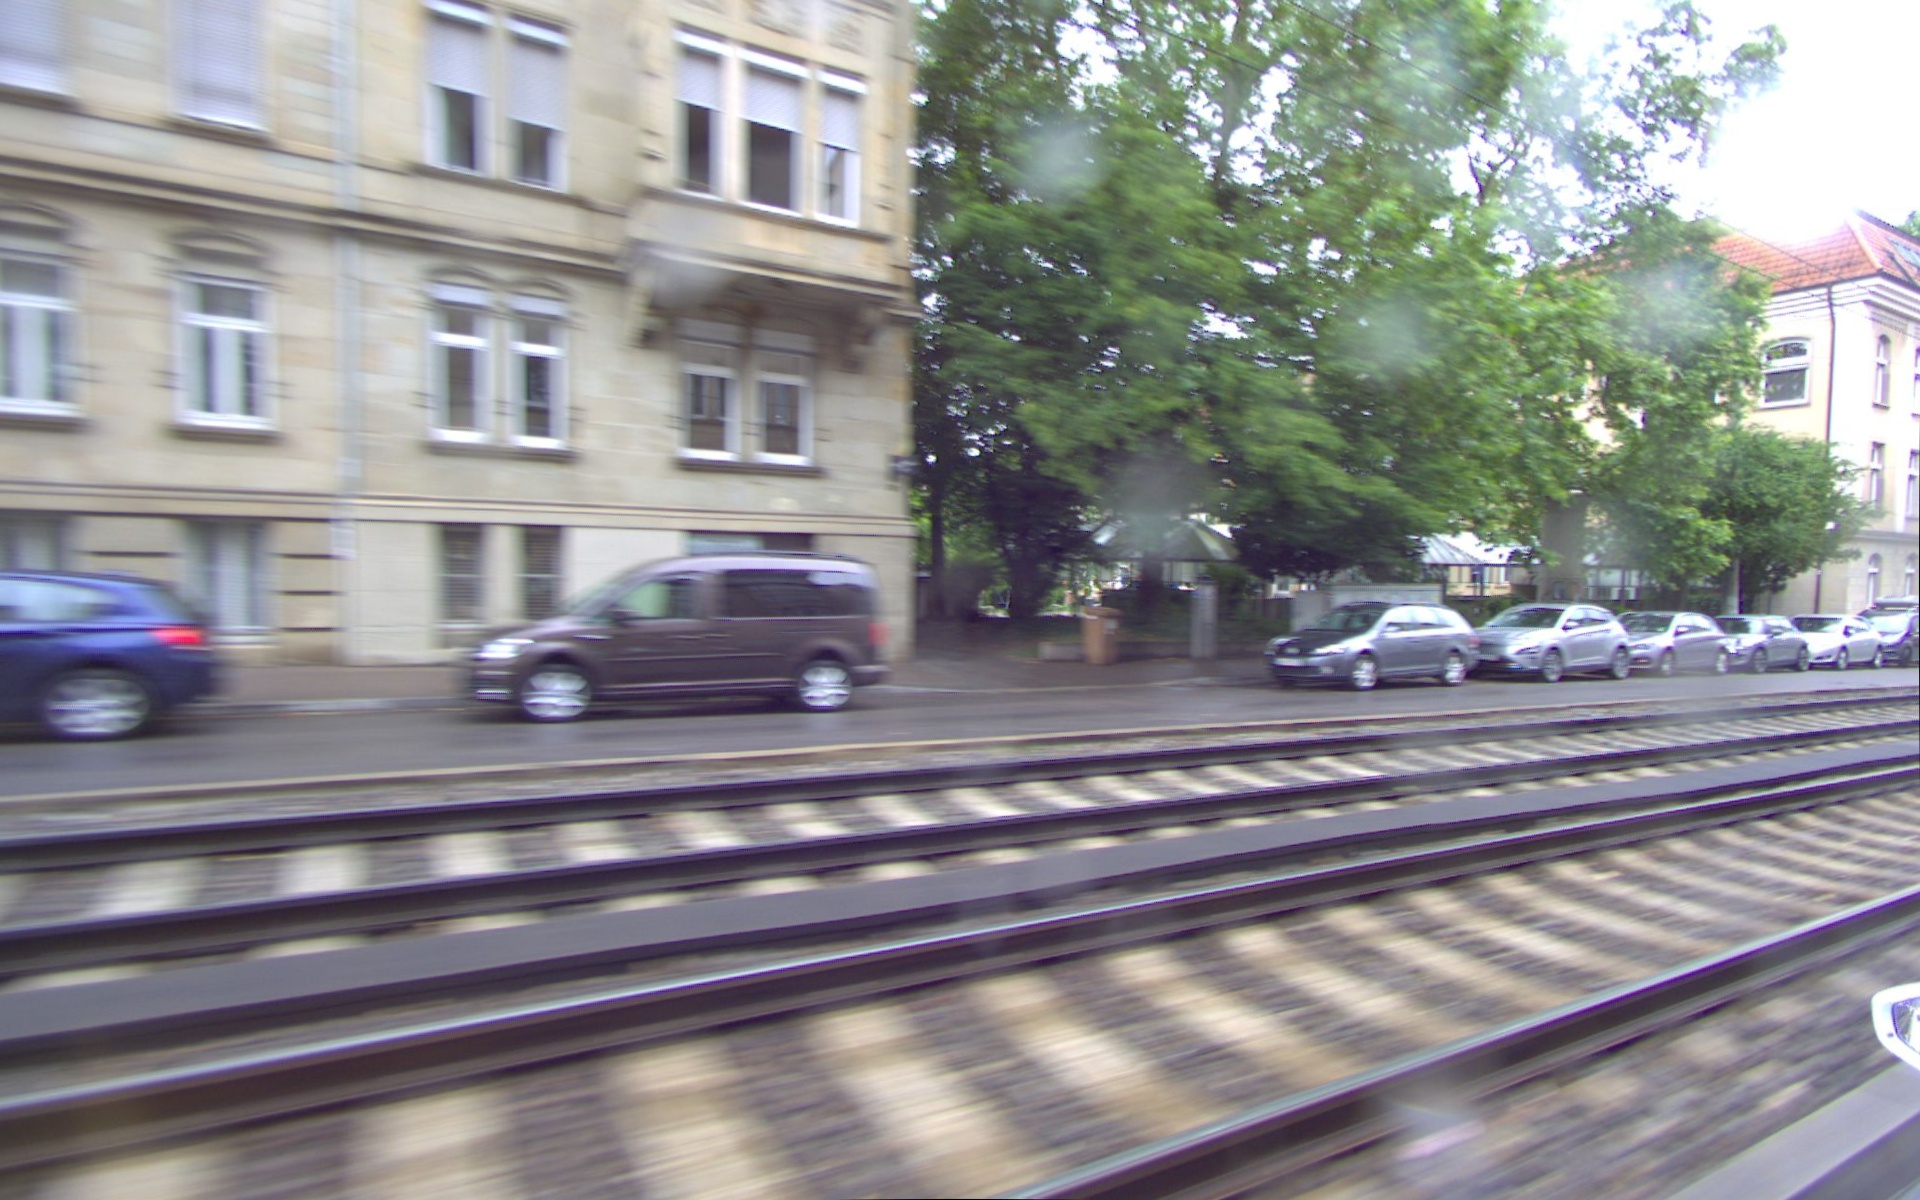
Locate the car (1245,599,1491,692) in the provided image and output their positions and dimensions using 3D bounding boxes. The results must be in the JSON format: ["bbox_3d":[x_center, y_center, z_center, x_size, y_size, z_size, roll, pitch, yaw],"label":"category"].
[{"bbox_3d":[7.353,0.779,17.976,4.501,1.483,1.839,1,-2,-33],"label":"car"}]

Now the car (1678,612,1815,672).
[{"bbox_3d":[20.221,1.065,25.794,3.908,1.432,1.531,1,-2,-32],"label":"car"}]

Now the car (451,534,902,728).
[{"bbox_3d":[-3.202,0.348,11.707,4.763,1.871,1.792,1,-1,-31],"label":"car"}]

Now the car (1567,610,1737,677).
[{"bbox_3d":[16.070,0.982,23.289,4.106,1.432,1.745,1,-2,-32],"label":"car"}]

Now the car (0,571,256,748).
[{"bbox_3d":[-8.630,0.472,8.509,4.222,1.416,1.753,1,-1,-32],"label":"car"}]

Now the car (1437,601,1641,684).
[{"bbox_3d":[11.973,0.855,20.698,4.491,1.556,1.745,1,-2,-32],"label":"car"}]

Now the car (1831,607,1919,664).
[{"bbox_3d":[28.380,1.075,30.667,4.026,1.665,1.568,1,-1,-32],"label":"car"}]

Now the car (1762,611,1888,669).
[{"bbox_3d":[24.400,1.111,28.296,4.107,1.525,1.531,1,-2,-32],"label":"car"}]

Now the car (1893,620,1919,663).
[{"bbox_3d":[33.175,1.391,33.680,3.961,1.432,1.667,1,-2,-30],"label":"car"}]

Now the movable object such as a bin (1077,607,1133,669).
[{"bbox_3d":[2.777,0.726,19.226,0.763,1.135,0.714,1,1,-28],"label":"movable object such as a bin"}]
